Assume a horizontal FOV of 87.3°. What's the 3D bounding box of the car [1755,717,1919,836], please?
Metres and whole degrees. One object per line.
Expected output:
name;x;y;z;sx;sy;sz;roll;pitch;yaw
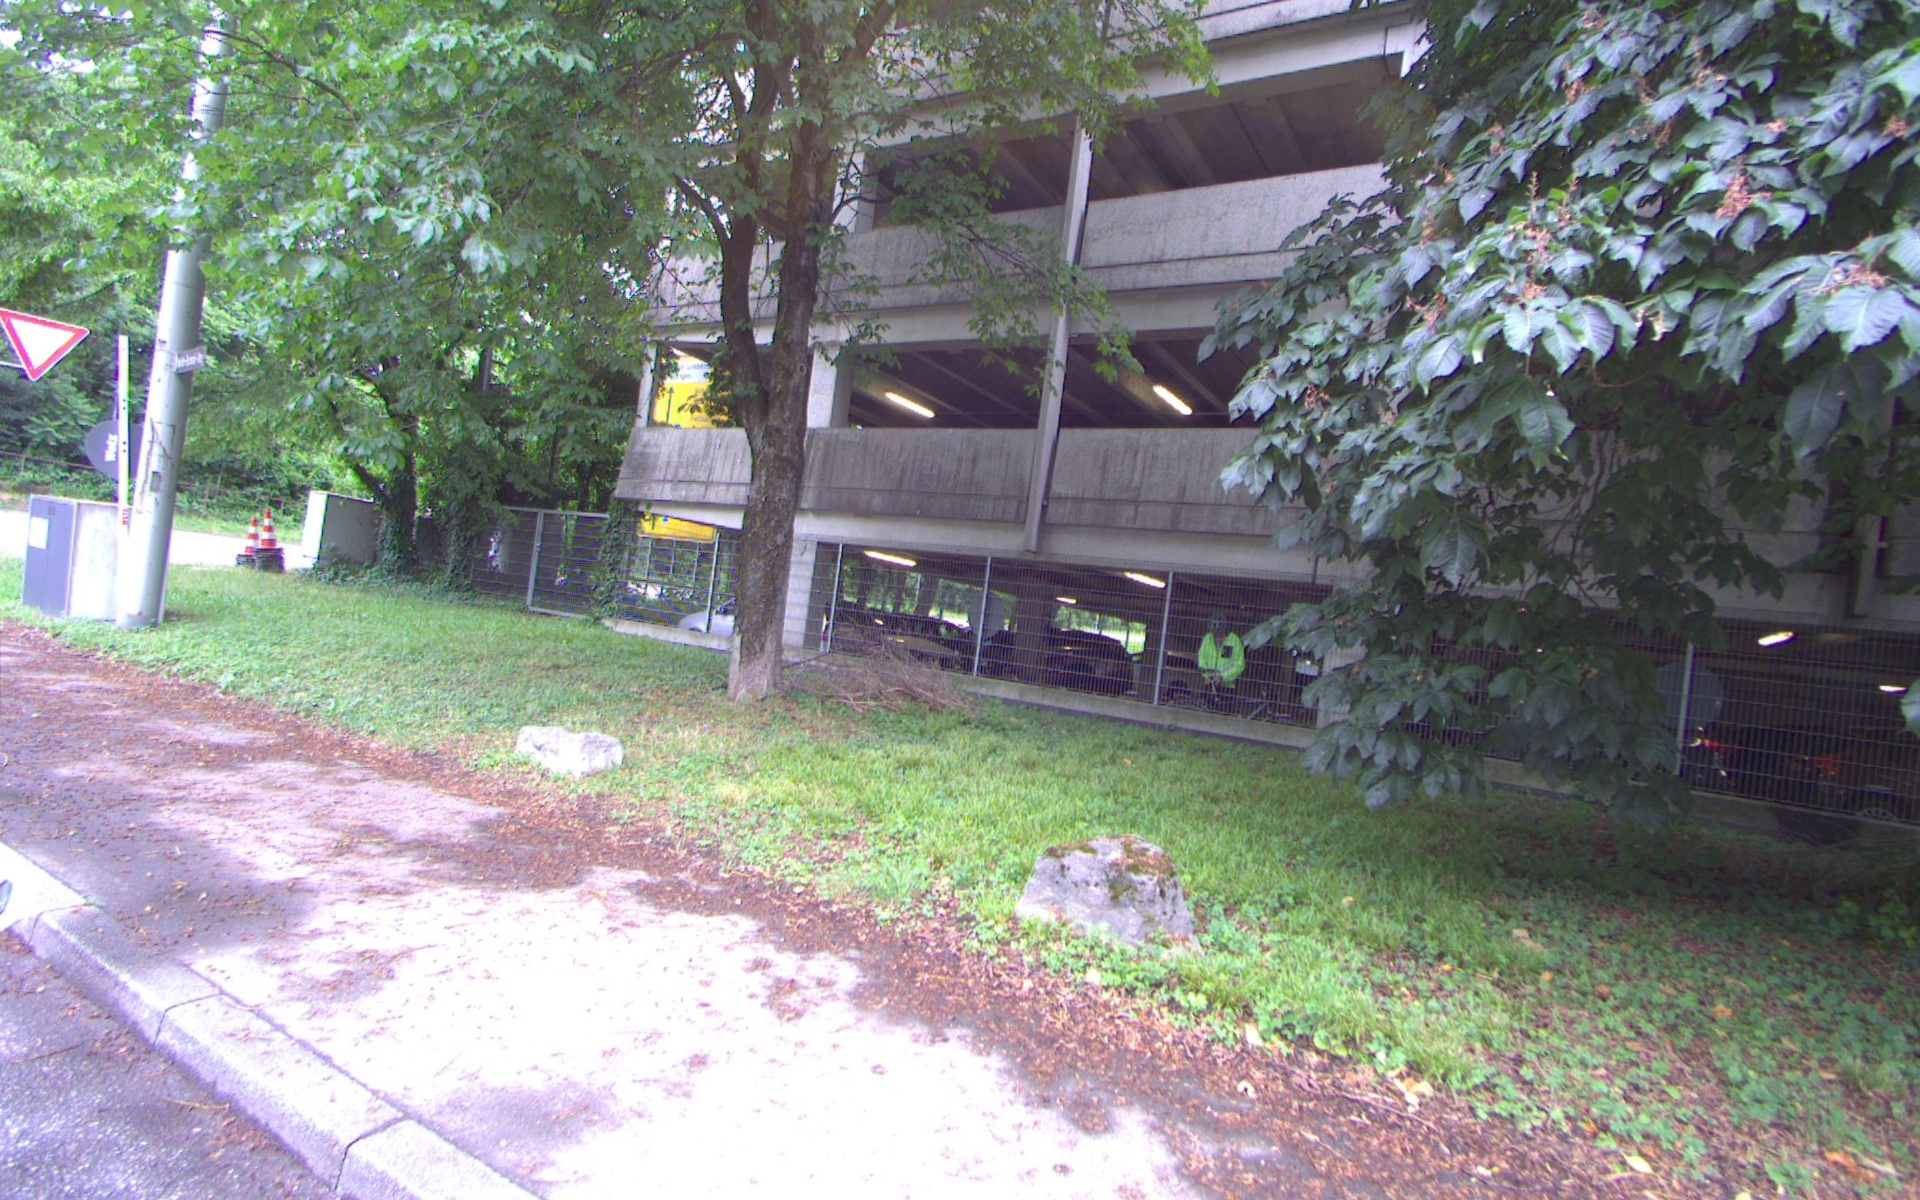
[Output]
car;15.606;2.996;16.527;3.640;1.625;1.721;5;-3;30

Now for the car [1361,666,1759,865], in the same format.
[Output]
car;8.616;2.295;14.846;4.597;2.036;1.998;5;-3;31

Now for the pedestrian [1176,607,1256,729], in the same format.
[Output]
pedestrian;2.986;0.798;11.728;0.626;1.332;0.642;5;-3;31

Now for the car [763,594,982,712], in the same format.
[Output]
car;-1.671;0.977;18.833;3.707;1.727;1.584;5;-3;32

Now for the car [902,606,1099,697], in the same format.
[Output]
car;0.919;1.183;23.226;3.934;1.569;1.998;5;-3;32

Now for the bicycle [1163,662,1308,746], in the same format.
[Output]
bicycle;3.115;1.170;11.388;1.469;0.744;0.448;6;-3;24

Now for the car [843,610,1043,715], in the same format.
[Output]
car;-0.378;1.285;20.889;3.658;1.682;1.734;5;-3;32

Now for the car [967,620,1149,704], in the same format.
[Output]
car;2.434;1.533;25.164;3.934;1.569;1.998;5;-3;32

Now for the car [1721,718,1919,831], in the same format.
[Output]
car;16.596;3.248;18.662;3.640;1.625;1.721;5;-3;30

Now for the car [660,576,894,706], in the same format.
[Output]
car;-3.117;0.662;16.907;3.658;1.727;1.484;5;-3;32

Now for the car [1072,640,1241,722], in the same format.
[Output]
car;6.132;2.525;31.563;4.658;1.855;1.923;6;-3;33

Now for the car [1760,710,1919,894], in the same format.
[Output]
car;12.666;2.660;12.478;3.935;2.036;1.997;5;-3;33
